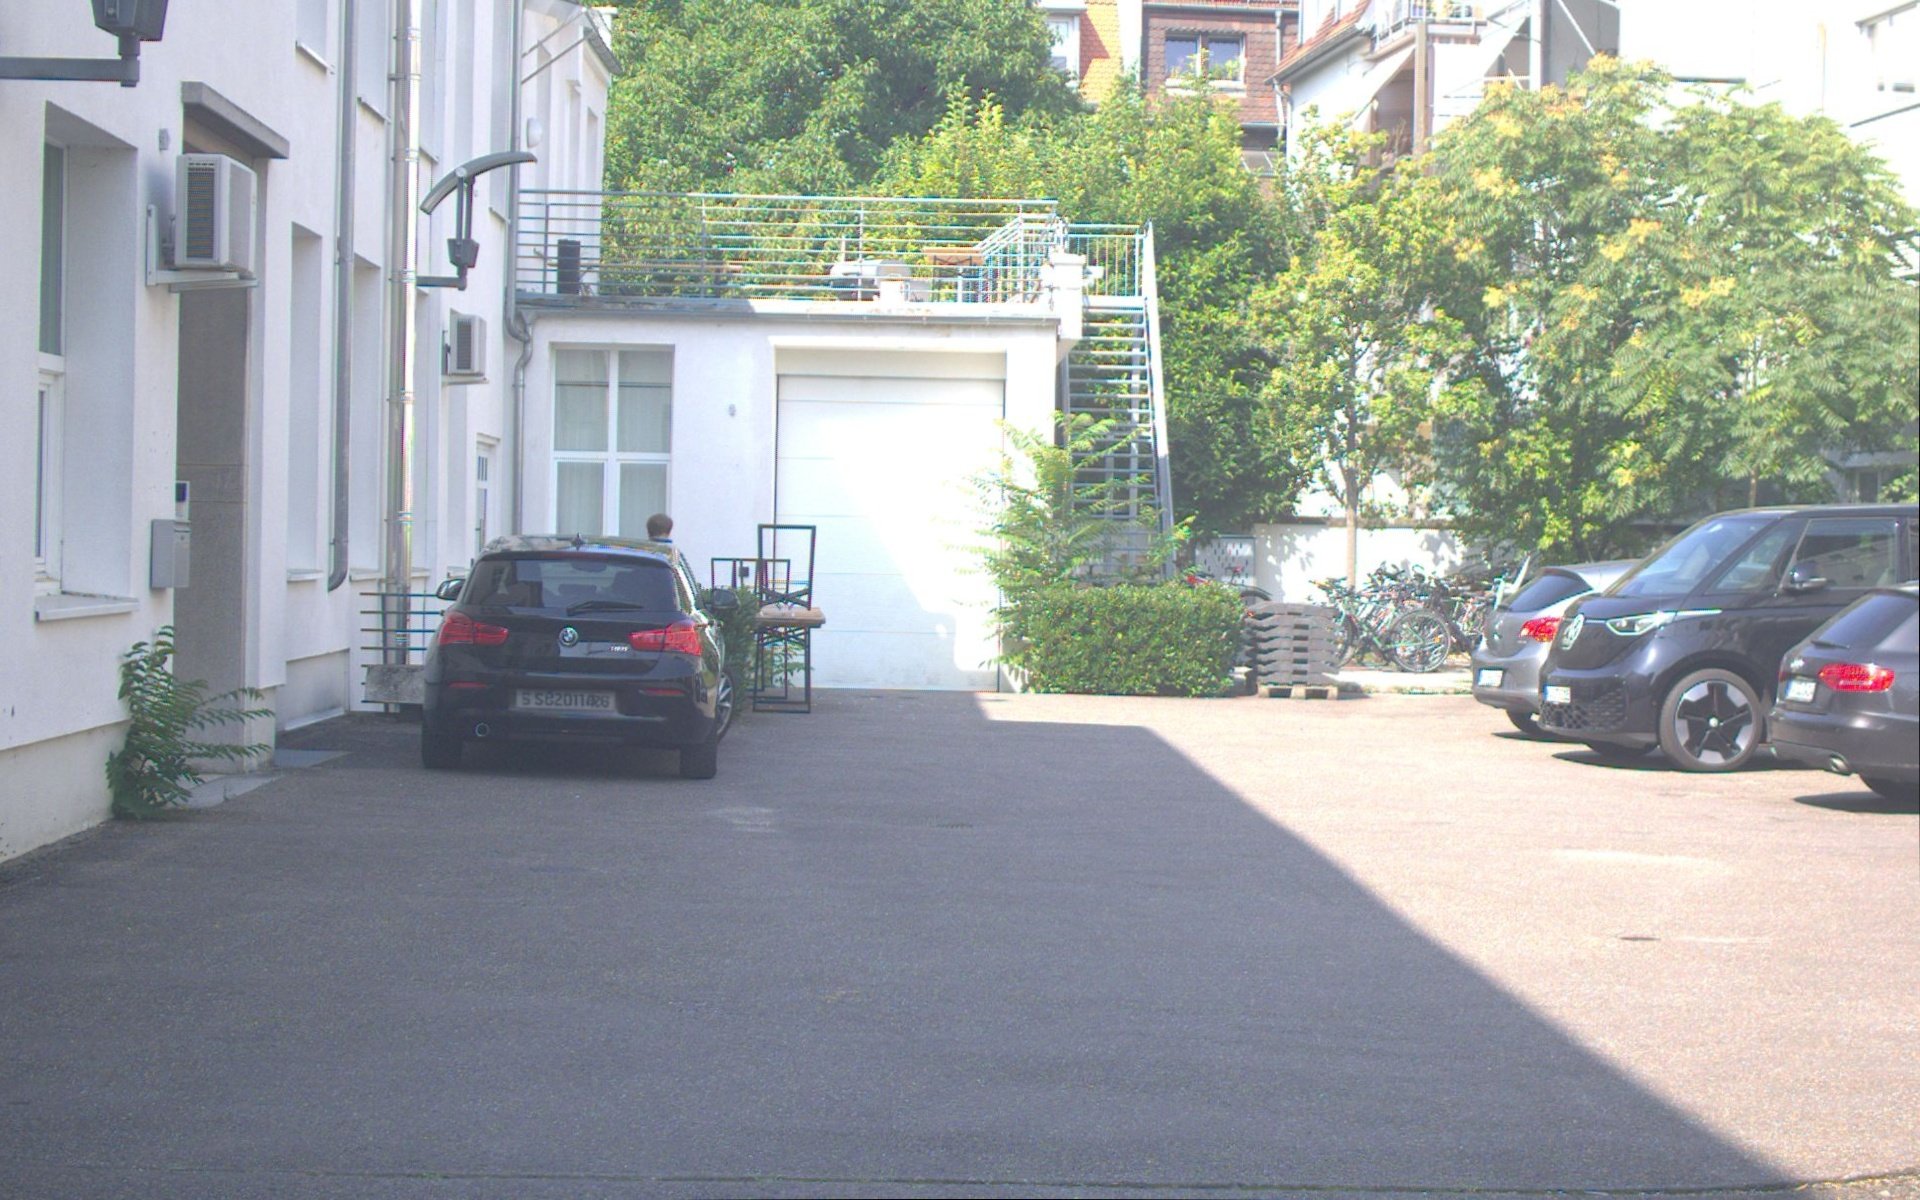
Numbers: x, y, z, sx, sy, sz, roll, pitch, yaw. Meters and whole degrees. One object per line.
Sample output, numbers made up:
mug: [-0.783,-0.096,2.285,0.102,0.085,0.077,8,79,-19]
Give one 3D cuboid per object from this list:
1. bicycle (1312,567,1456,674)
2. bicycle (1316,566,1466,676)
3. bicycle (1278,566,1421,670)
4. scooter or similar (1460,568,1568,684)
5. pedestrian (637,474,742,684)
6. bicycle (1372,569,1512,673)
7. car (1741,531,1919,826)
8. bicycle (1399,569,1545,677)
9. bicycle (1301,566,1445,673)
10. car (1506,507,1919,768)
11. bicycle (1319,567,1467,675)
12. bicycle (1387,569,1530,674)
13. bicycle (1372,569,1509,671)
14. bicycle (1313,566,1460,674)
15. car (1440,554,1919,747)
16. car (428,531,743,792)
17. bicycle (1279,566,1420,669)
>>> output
bicycle: [4.884,0.227,39.615,1.624,1.210,0.327,1,1,9]
bicycle: [4.828,0.234,38.549,1.623,1.210,0.327,0,1,1]
bicycle: [4.601,0.212,40.655,1.623,1.210,0.424,0,1,-1]
scooter or similar: [6.163,0.281,38.314,0.378,1.256,1.349,0,1,-33]
pedestrian: [-2.652,-0.207,33.842,0.913,2.007,0.935,2,0,0]
bicycle: [5.746,0.242,40.959,1.624,1.210,0.424,1,1,12]
car: [7.025,0.494,20.786,4.116,1.686,1.771,2,0,-3]
bicycle: [5.889,0.257,39.523,1.624,1.210,0.327,1,1,14]
bicycle: [4.800,0.222,39.979,1.624,1.210,0.327,1,1,12]
car: [6.444,0.278,24.983,4.499,1.788,1.883,1,0,-10]
bicycle: [4.889,0.233,38.871,1.623,1.210,0.327,0,1,1]
bicycle: [5.857,0.250,40.383,1.624,1.210,0.424,1,1,12]
bicycle: [5.873,0.238,41.986,1.624,1.210,0.424,1,1,12]
bicycle: [4.855,0.230,39.164,1.623,1.210,0.327,0,1,1]
car: [6.062,0.404,27.867,3.931,1.477,1.775,1,0,-10]
car: [-2.280,0.338,21.774,1.688,1.454,3.923,2,0,-2]
bicycle: [4.676,0.209,41.290,1.623,1.210,0.424,0,1,-6]
